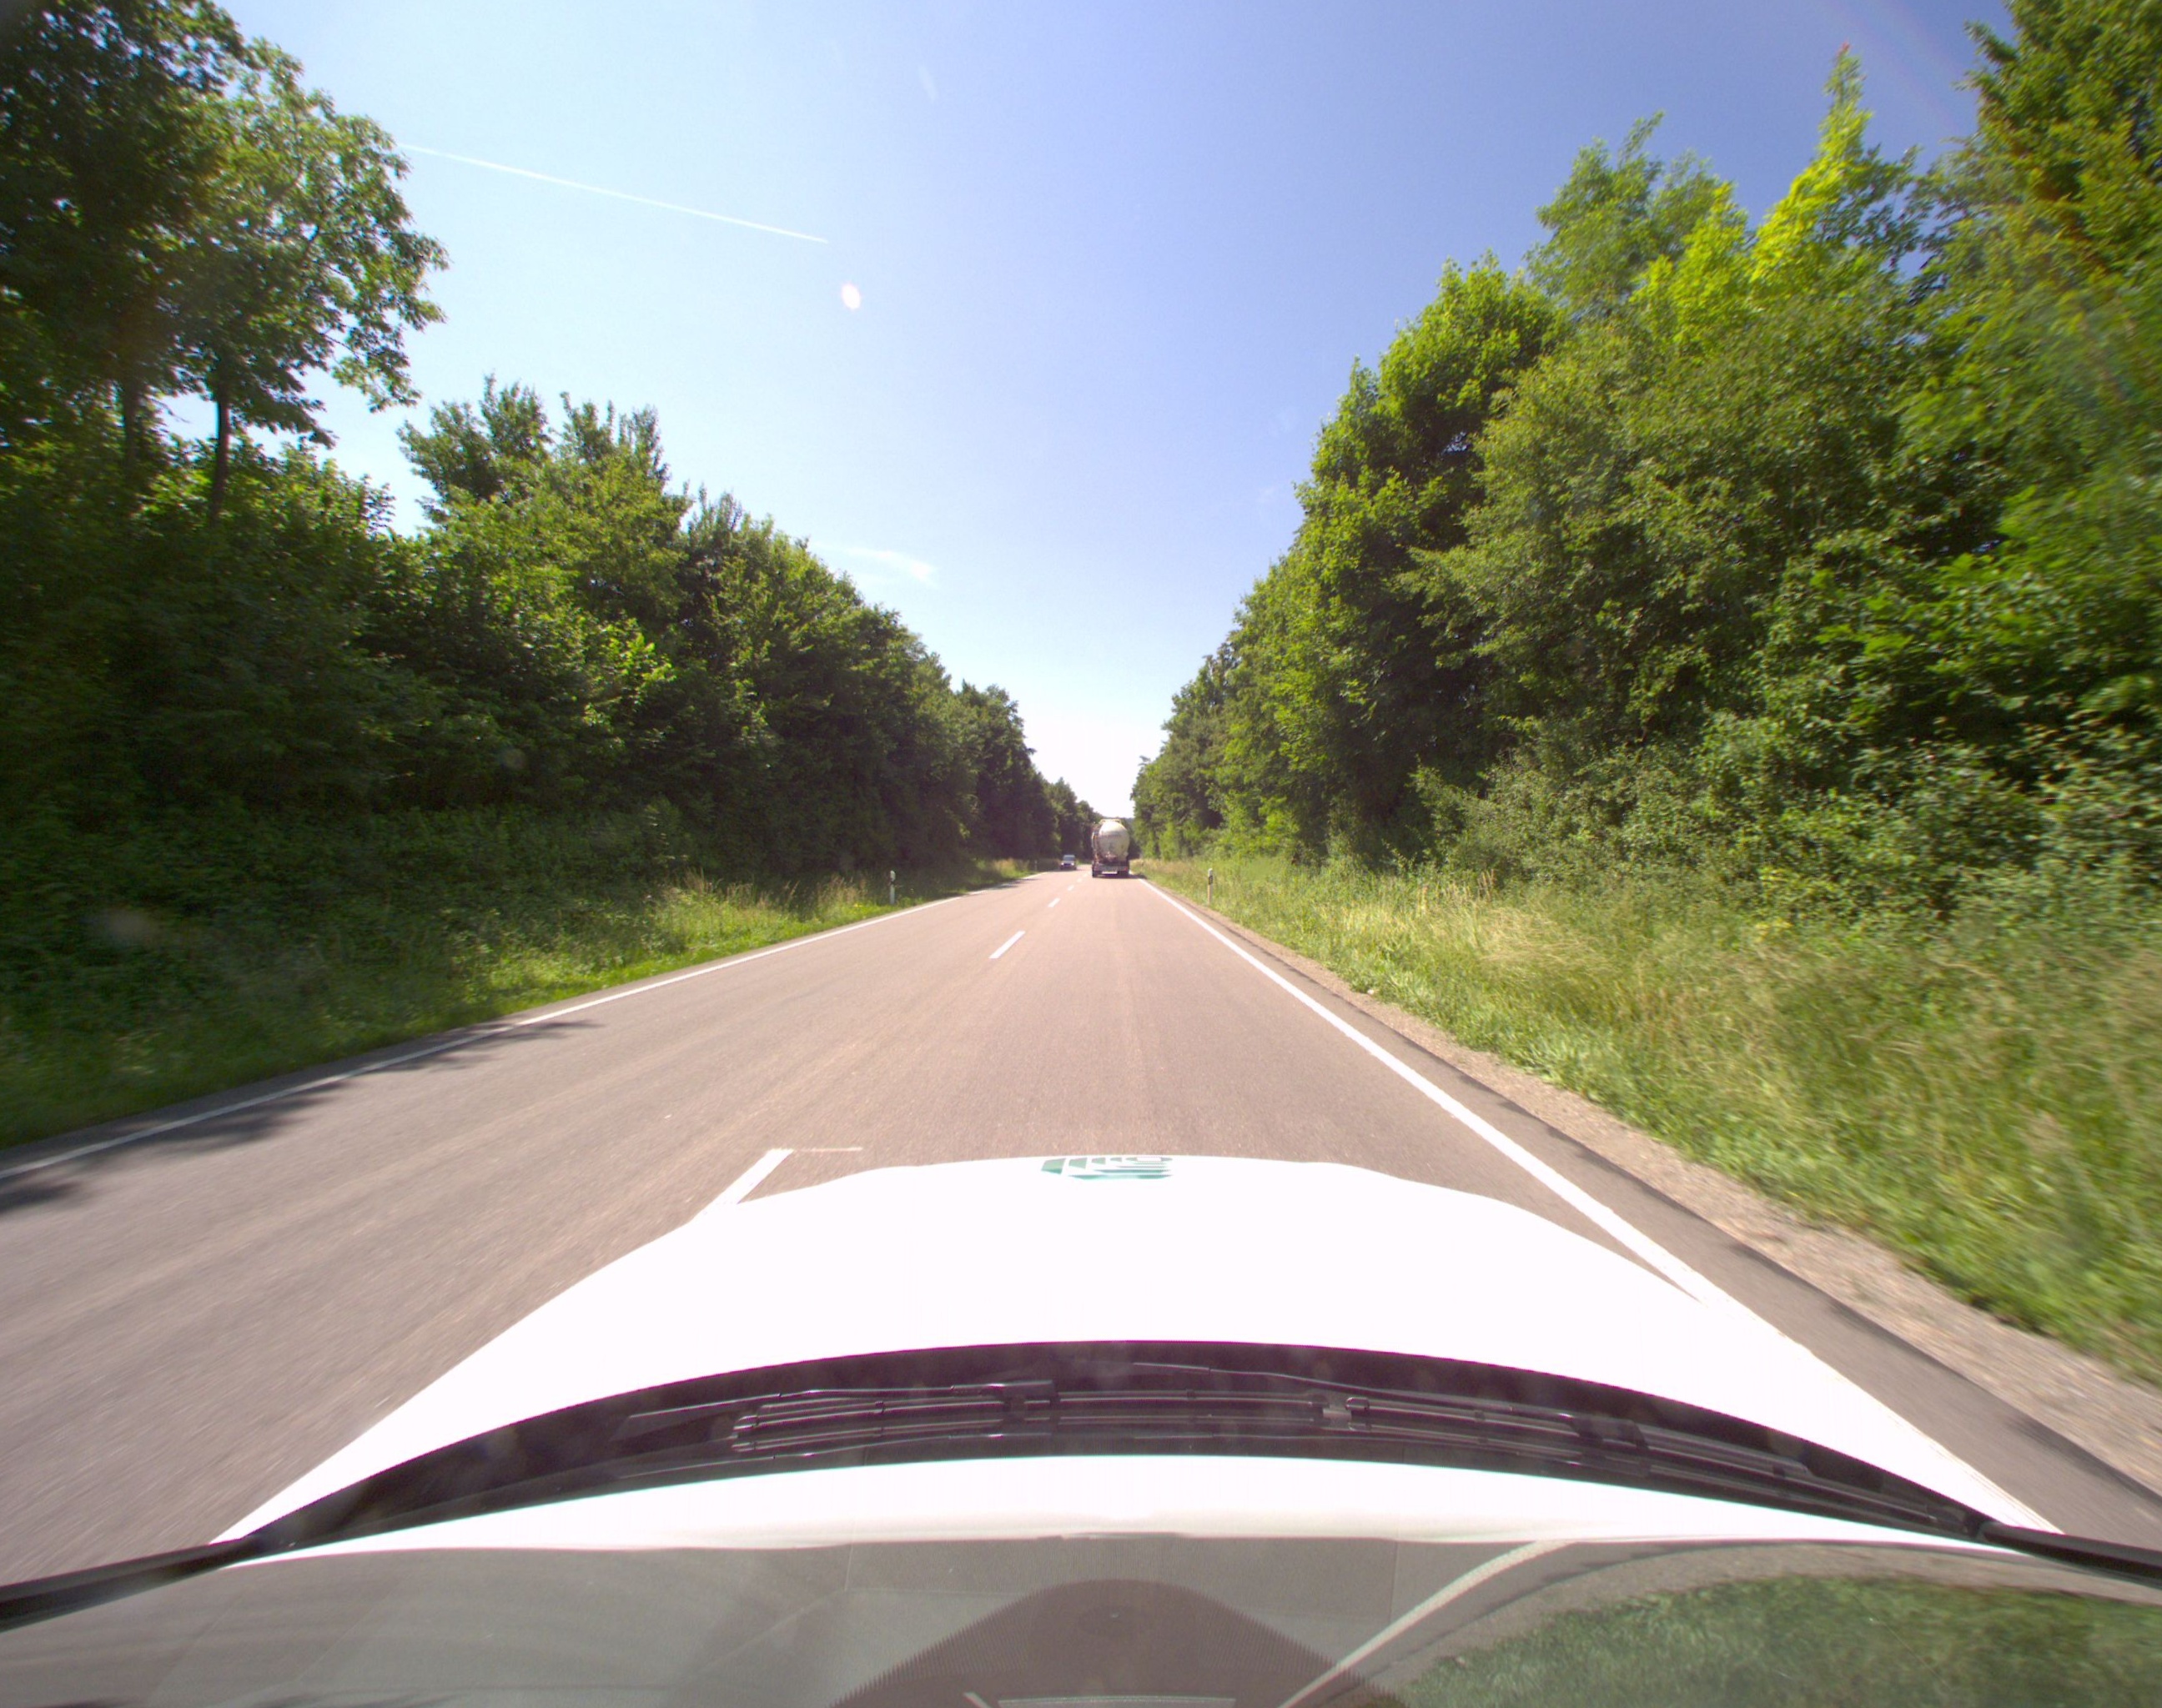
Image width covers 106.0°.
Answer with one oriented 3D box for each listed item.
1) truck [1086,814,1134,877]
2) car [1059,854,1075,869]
[{"bbox_3d":[1.994,-0.491,60.724,3.039,3.998,15.637,2,0,1],"label":"truck"},{"bbox_3d":[-1.542,0.819,89.622,1.506,1.592,3.795,-1,0,2],"label":"car"}]
